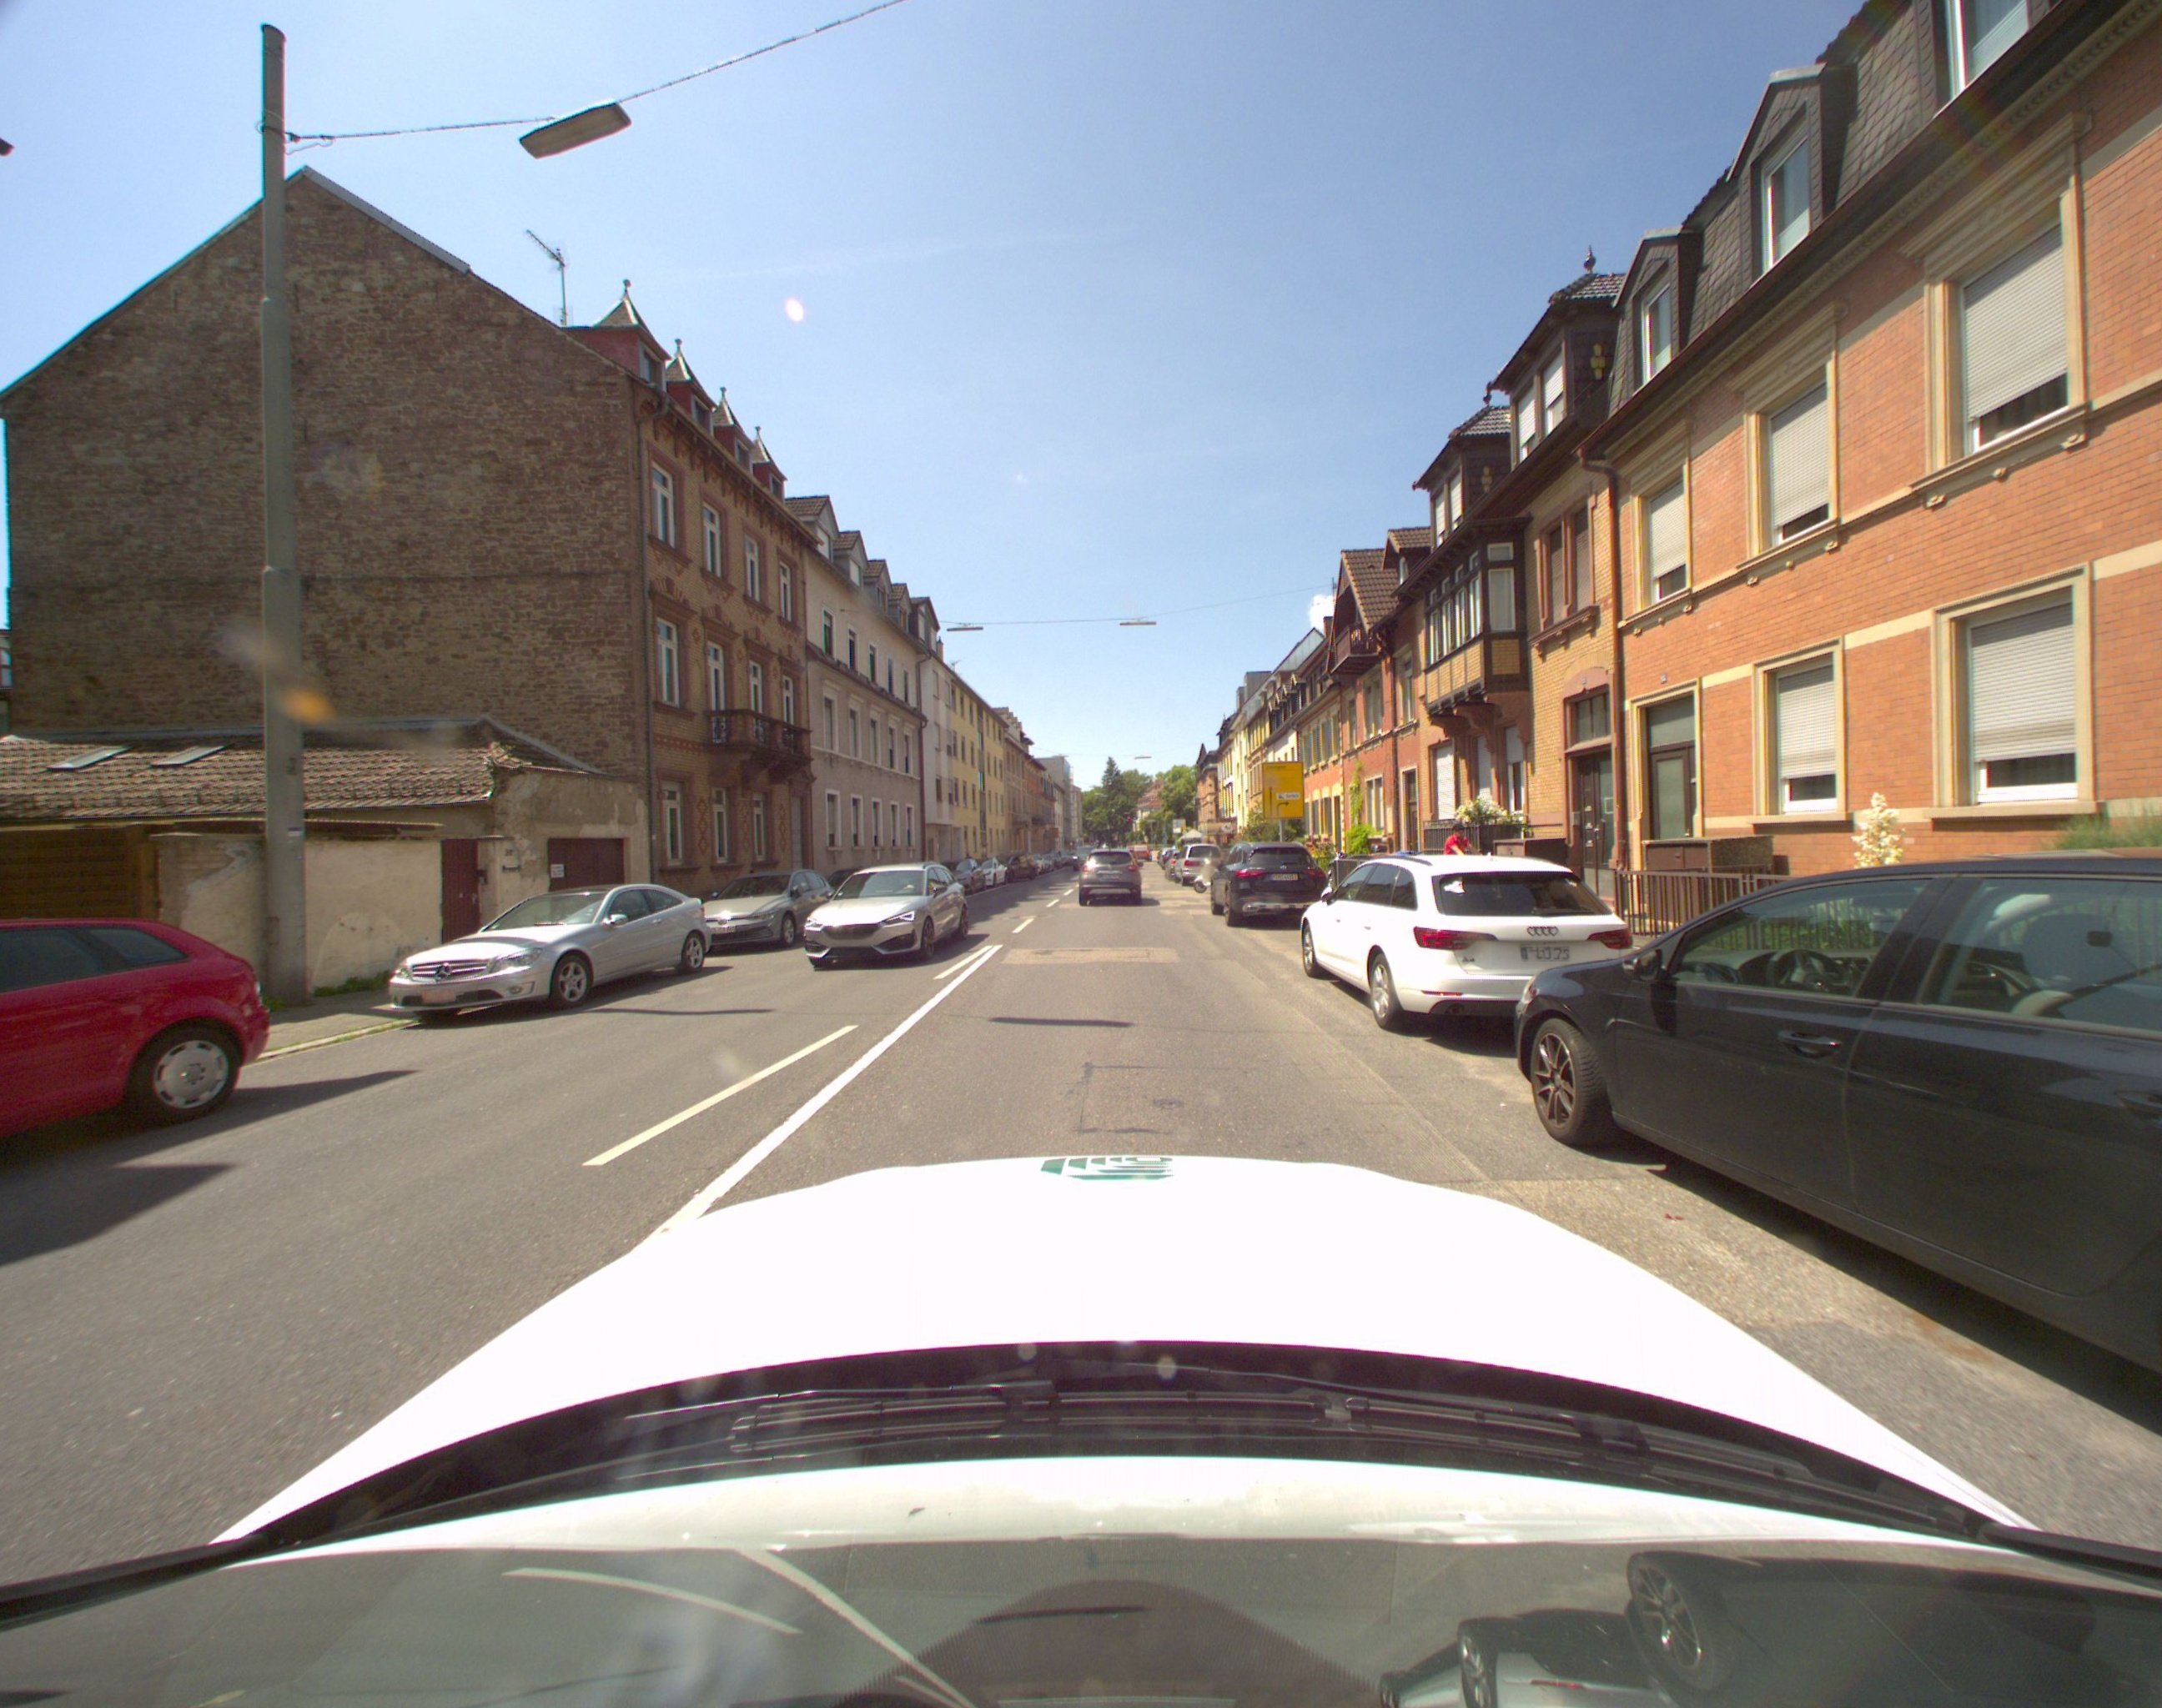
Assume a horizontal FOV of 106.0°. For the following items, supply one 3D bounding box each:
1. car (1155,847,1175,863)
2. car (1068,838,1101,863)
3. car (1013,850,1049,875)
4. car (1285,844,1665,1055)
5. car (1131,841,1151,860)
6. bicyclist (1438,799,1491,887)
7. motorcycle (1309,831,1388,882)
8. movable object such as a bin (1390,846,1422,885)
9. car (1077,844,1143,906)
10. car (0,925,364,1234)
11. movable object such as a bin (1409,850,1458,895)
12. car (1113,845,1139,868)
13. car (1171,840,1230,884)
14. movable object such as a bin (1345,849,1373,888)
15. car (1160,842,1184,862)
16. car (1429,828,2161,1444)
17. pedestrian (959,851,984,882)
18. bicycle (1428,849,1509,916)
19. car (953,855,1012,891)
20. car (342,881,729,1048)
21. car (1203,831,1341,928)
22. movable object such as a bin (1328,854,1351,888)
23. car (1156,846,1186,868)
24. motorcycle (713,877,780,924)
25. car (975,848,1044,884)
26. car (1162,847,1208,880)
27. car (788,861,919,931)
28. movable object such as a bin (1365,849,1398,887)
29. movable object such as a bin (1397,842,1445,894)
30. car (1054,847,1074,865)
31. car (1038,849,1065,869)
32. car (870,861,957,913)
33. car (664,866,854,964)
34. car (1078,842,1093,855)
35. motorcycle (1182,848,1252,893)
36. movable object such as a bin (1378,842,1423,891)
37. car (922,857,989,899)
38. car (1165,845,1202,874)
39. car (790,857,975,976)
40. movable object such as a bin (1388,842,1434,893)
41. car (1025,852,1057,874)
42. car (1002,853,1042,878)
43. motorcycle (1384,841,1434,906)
[{"bbox_3d":[8.193,0.098,79.572,1.606,1.443,3.437,-2,1,1],"label":"car"},{"bbox_3d":[0.348,-0.294,63.670,1.984,1.792,5.157,-4,0,5],"label":"car"},{"bbox_3d":[-3.453,0.555,57.199,1.897,1.510,4.306,-5,0,3],"label":"car"},{"bbox_3d":[3.370,0.661,8.090,1.709,1.414,4.593,-3,0,3],"label":"car"},{"bbox_3d":[6.796,-0.447,92.063,1.983,2.013,4.474,-3,1,6],"label":"car"},{"bbox_3d":[6.748,-0.192,14.354,0.530,1.469,0.791,-3,0,3],"label":"bicyclist"},{"bbox_3d":[8.421,0.062,25.693,2.121,1.408,0.938,-5,0,2],"label":"motorcycle"},{"bbox_3d":[9.369,0.337,23.506,0.606,1.076,0.762,-3,0,4],"label":"movable object such as a bin"},{"bbox_3d":[0.900,0.555,23.946,1.736,1.616,4.004,-1,0,3],"label":"car"},{"bbox_3d":[-6.659,1.380,4.199,1.834,1.422,4.501,-6,0,-1],"label":"car"},{"bbox_3d":[7.532,0.387,17.409,0.785,0.907,0.539,-3,0,0],"label":"movable object such as a bin"},{"bbox_3d":[3.428,0.188,63.206,1.805,1.620,4.443,-4,0,2],"label":"car"},{"bbox_3d":[5.041,0.284,34.882,1.854,1.747,4.618,-1,1,0],"label":"car"},{"bbox_3d":[8.039,0.401,23.579,0.554,1.075,0.728,-3,0,4],"label":"movable object such as a bin"},{"bbox_3d":[7.725,-0.192,69.338,1.852,1.553,4.005,-1,1,5],"label":"car"},{"bbox_3d":[3.257,0.639,3.191,1.645,1.414,4.496,-2,0,-3],"label":"car"},{"bbox_3d":[-6.302,0.712,46.984,1.146,1.750,0.971,-3,0,5],"label":"pedestrian"},{"bbox_3d":[6.790,0.468,14.367,0.591,1.066,1.884,-3,0,3],"label":"bicycle"},{"bbox_3d":[-4.680,0.874,39.373,1.831,1.422,4.563,-6,0,4],"label":"car"},{"bbox_3d":[-6.659,1.228,10.735,1.833,1.422,4.505,-5,0,2],"label":"car"},{"bbox_3d":[3.842,0.445,17.255,1.985,1.661,4.629,-3,0,3],"label":"car"},{"bbox_3d":[7.474,0.496,23.570,0.479,0.941,0.527,-3,0,4],"label":"movable object such as a bin"},{"bbox_3d":[6.405,0.152,58.257,1.852,1.464,4.622,-1,1,3],"label":"car"},{"bbox_3d":[-8.652,1.182,21.150,0.709,1.053,1.940,-2,0,6],"label":"motorcycle"},{"bbox_3d":[-3.942,0.648,45.731,1.888,1.637,4.582,-5,0,21],"label":"car"},{"bbox_3d":[5.079,0.419,40.258,1.853,1.487,4.311,-1,1,2],"label":"car"},{"bbox_3d":[-5.951,1.048,21.952,1.832,1.422,4.507,-7,0,4],"label":"car"},{"bbox_3d":[8.678,0.388,23.527,0.656,1.054,0.749,-3,0,4],"label":"movable object such as a bin"},{"bbox_3d":[7.518,0.301,18.026,0.785,1.088,0.539,-3,0,0],"label":"movable object such as a bin"},{"bbox_3d":[-1.702,0.207,84.331,1.899,1.619,4.301,-5,0,0],"label":"car"},{"bbox_3d":[-2.582,0.430,72.996,1.897,1.619,4.305,-5,0,3],"label":"car"},{"bbox_3d":[-5.568,1.036,27.672,1.833,1.422,4.503,-5,0,1],"label":"car"},{"bbox_3d":[-6.288,1.101,16.556,1.833,1.422,4.503,-7,0,1],"label":"car"},{"bbox_3d":[0.688,-0.857,124.489,1.896,1.821,4.308,-3,0,5],"label":"car"},{"bbox_3d":[4.516,0.550,27.116,1.970,1.385,1.120,-2,0,41],"label":"motorcycle"},{"bbox_3d":[7.520,0.285,19.190,0.785,1.088,0.554,-3,0,0],"label":"movable object such as a bin"},{"bbox_3d":[-5.081,0.929,33.597,1.833,1.422,4.647,-5,0,1],"label":"car"},{"bbox_3d":[5.744,0.261,46.082,1.688,1.487,4.622,-1,1,3],"label":"car"},{"bbox_3d":[-3.045,0.879,13.490,1.784,1.420,4.317,-4,1,2],"label":"car"},{"bbox_3d":[7.531,0.303,18.612,0.785,1.088,0.543,-3,0,0],"label":"movable object such as a bin"},{"bbox_3d":[-3.048,0.665,63.391,1.896,1.401,4.759,-5,0,3],"label":"car"},{"bbox_3d":[-3.746,0.720,52.292,1.896,1.379,4.066,-5,0,4],"label":"car"},{"bbox_3d":[6.633,0.361,16.525,0.438,1.237,1.359,-4,1,2],"label":"motorcycle"}]
